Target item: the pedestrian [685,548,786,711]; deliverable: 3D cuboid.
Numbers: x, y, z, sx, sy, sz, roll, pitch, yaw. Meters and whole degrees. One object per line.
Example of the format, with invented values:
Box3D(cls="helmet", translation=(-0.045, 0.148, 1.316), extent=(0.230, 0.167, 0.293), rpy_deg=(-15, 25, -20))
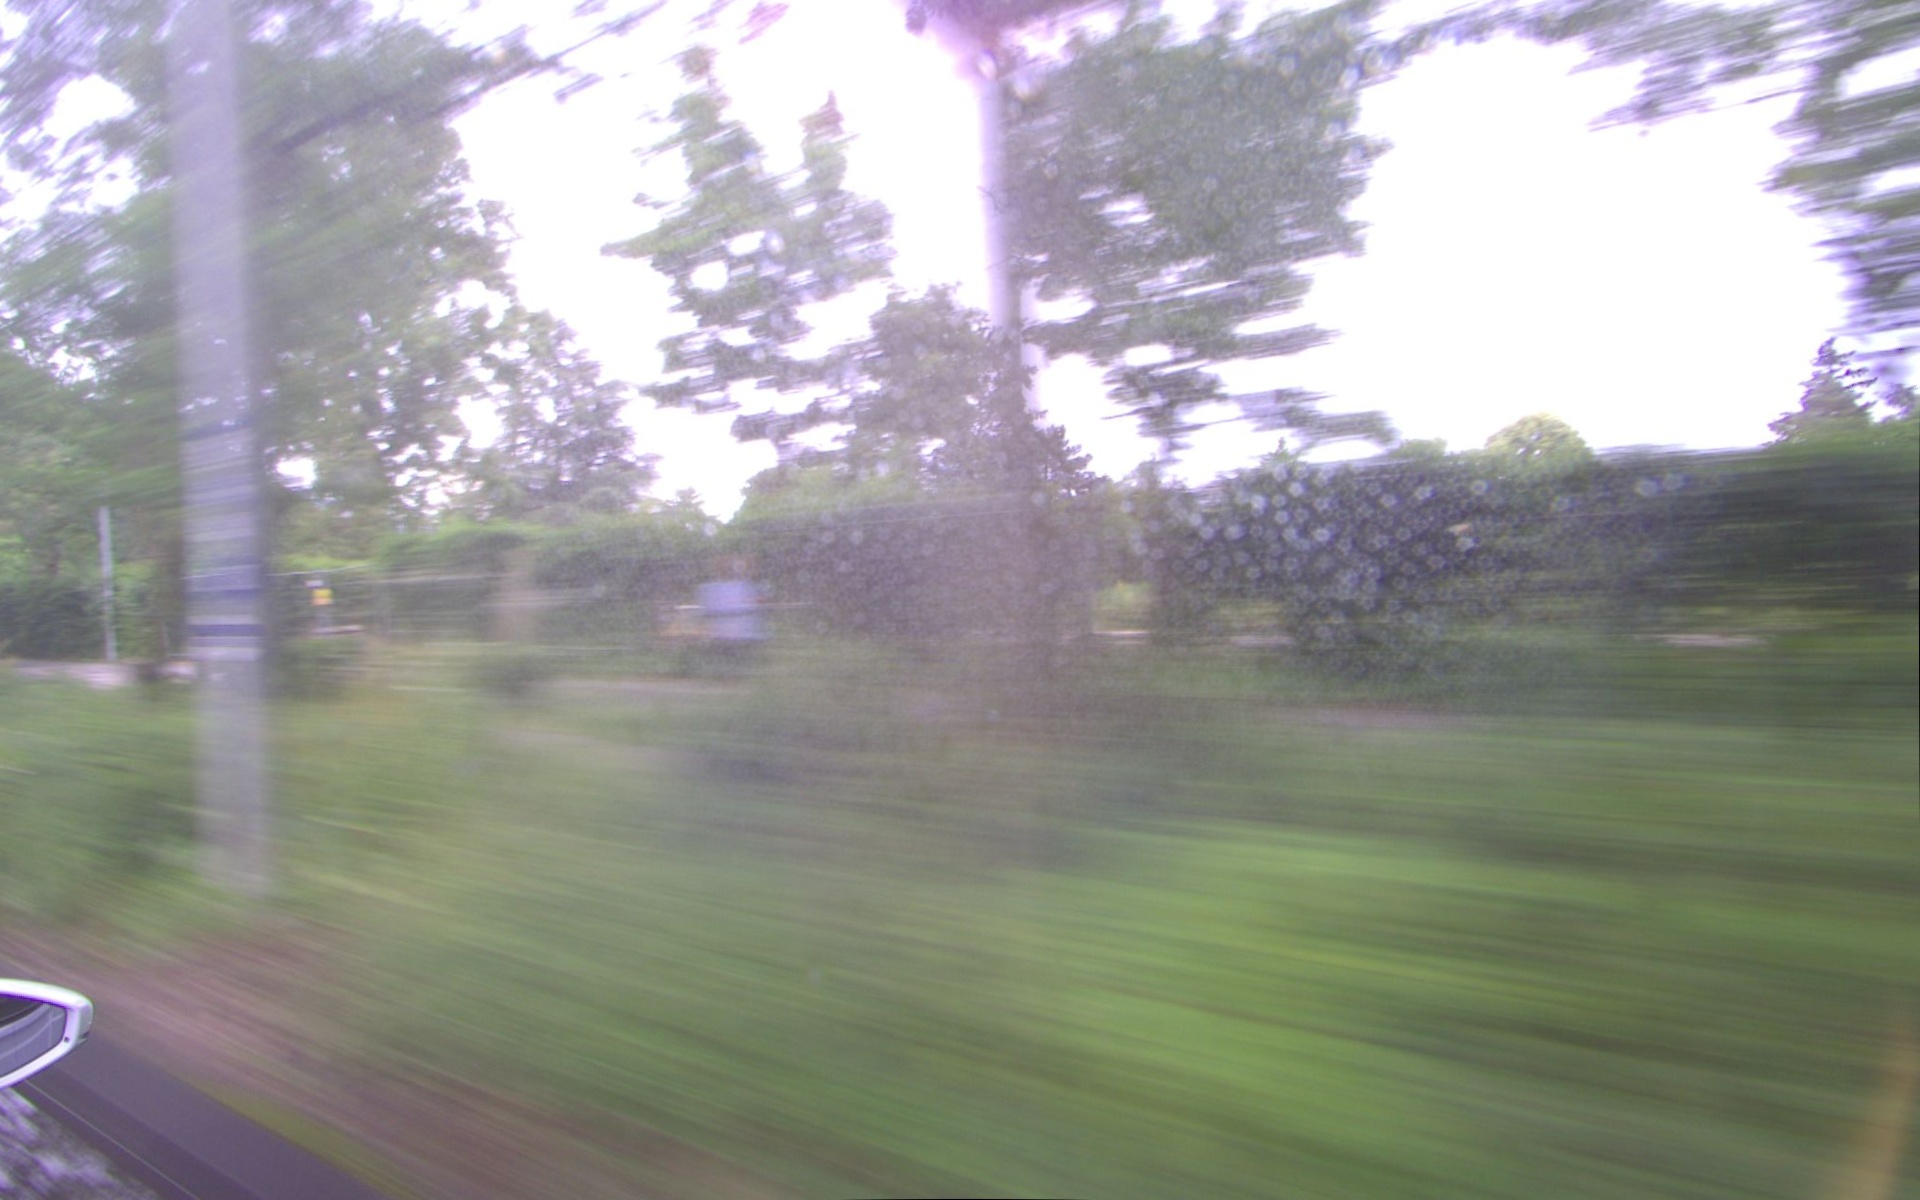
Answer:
Box3D(cls="pedestrian", translation=(-2.410, 0.303, 10.763), extent=(0.808, 1.674, 0.571), rpy_deg=(-1, 4, 32))
